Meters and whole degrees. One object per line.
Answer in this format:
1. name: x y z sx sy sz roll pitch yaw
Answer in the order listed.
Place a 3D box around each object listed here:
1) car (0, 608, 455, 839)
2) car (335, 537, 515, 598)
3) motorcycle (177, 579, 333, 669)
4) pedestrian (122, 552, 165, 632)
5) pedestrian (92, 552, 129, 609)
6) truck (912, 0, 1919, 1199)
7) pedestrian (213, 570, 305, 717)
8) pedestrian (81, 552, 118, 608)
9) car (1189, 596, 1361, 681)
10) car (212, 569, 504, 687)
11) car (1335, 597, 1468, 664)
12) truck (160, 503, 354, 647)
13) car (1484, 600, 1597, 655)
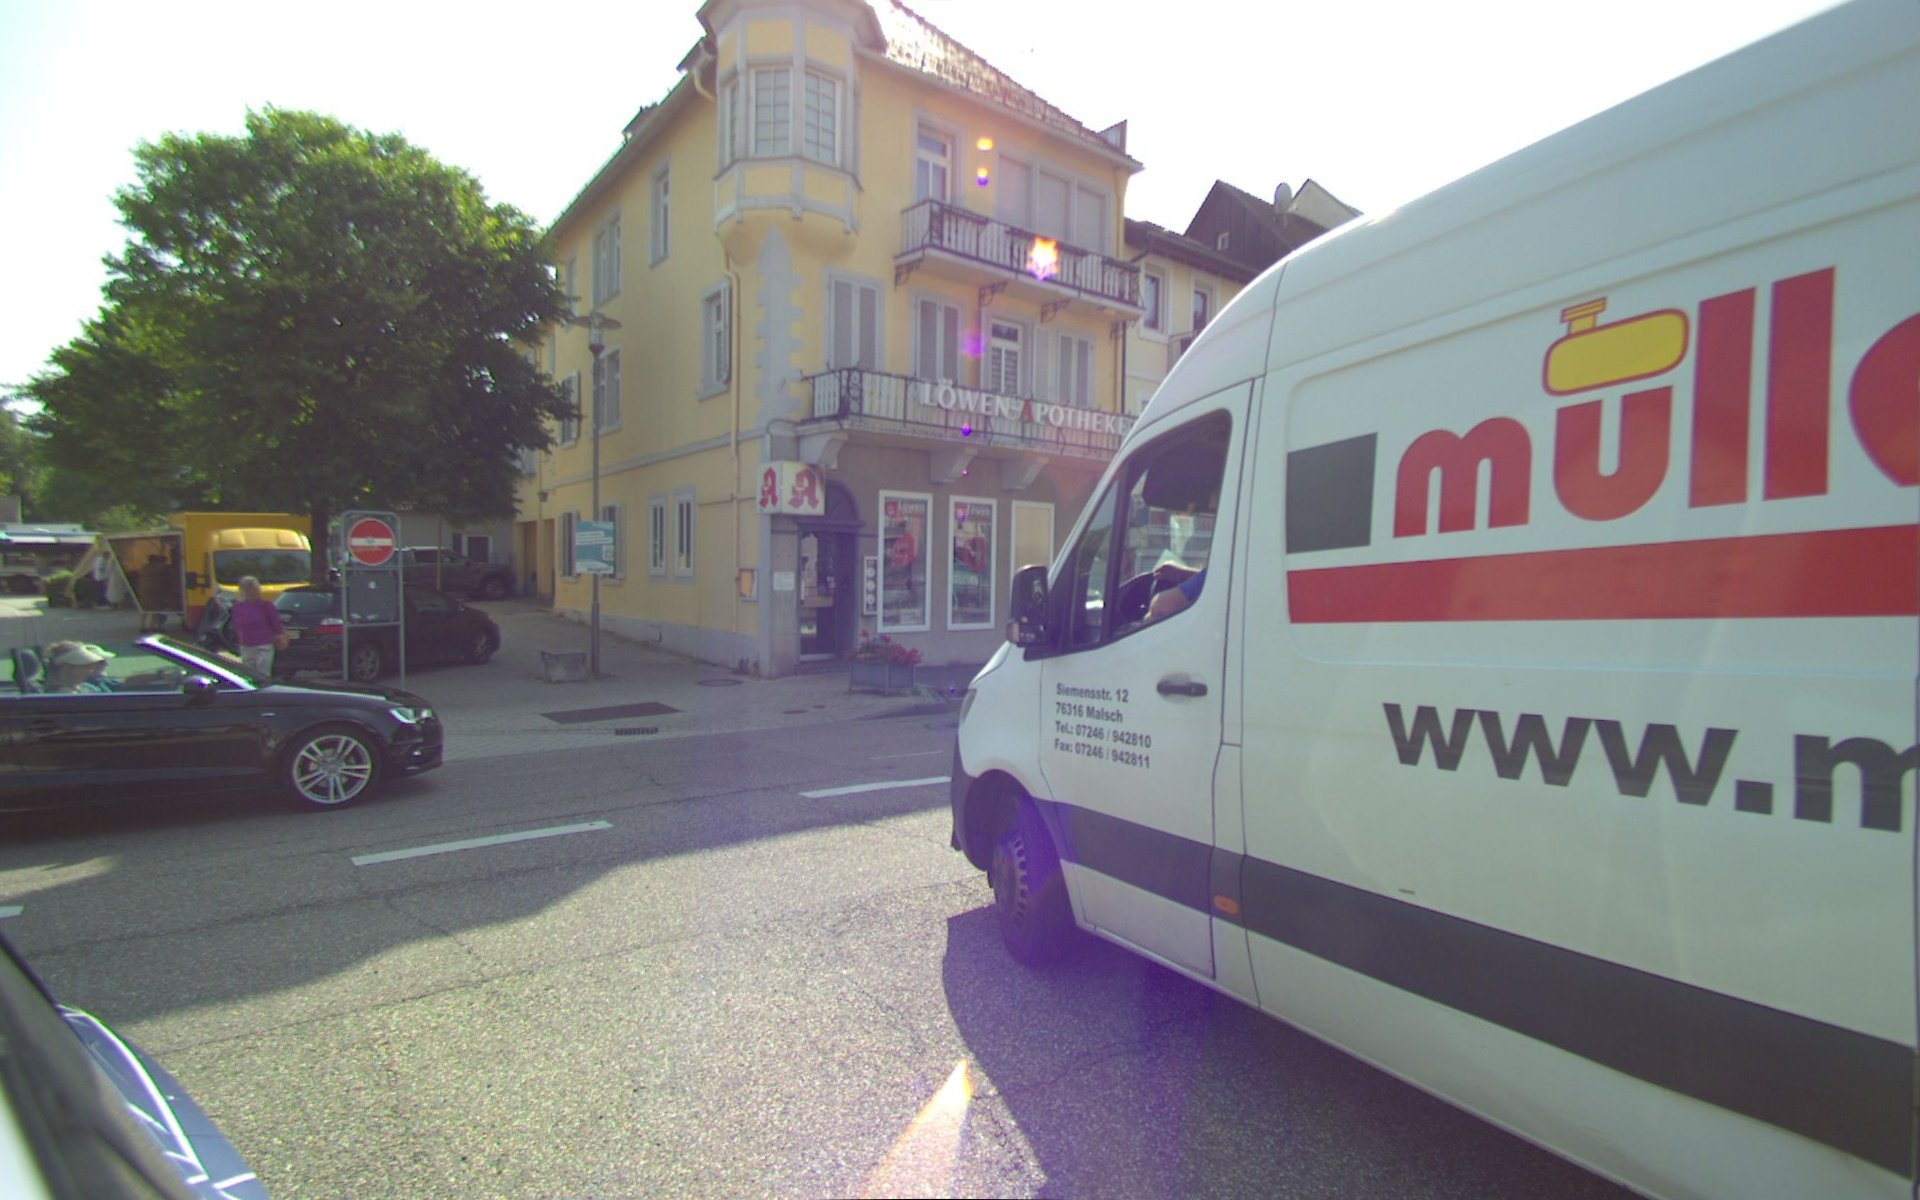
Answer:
1. car: -6.093 0.804 7.309 4.131 1.366 1.760 -2 0 -36
2. car: -17.846 -1.043 33.939 4.997 1.905 2.002 -1 1 -44
3. motorcycle: -12.088 0.366 17.392 2.056 1.371 0.889 -4 4 -41
4. pedestrian: -18.854 -0.195 23.378 0.671 1.799 0.728 -3 4 -41
5. pedestrian: -26.009 -0.616 30.977 0.581 1.694 0.674 2 4 33
6. truck: 2.288 -0.007 2.162 2.075 2.719 7.156 0 -1 -26
7. pedestrian: -8.439 0.500 12.211 0.670 1.727 0.618 0 2 -4
8. pedestrian: -26.556 -0.618 31.239 0.581 1.694 0.674 0 3 34
9. car: 6.560 0.716 20.945 3.512 1.580 1.855 0 1 -41
10. car: -9.470 0.325 16.346 1.903 1.554 3.946 1 3 11
11. car: 10.676 0.677 24.420 3.225 1.458 1.755 0 1 -41
12. truck: -16.847 -0.716 23.929 2.963 2.778 8.878 -2 4 -40
13. car: 17.048 0.755 29.657 3.736 1.458 1.755 0 1 -41
